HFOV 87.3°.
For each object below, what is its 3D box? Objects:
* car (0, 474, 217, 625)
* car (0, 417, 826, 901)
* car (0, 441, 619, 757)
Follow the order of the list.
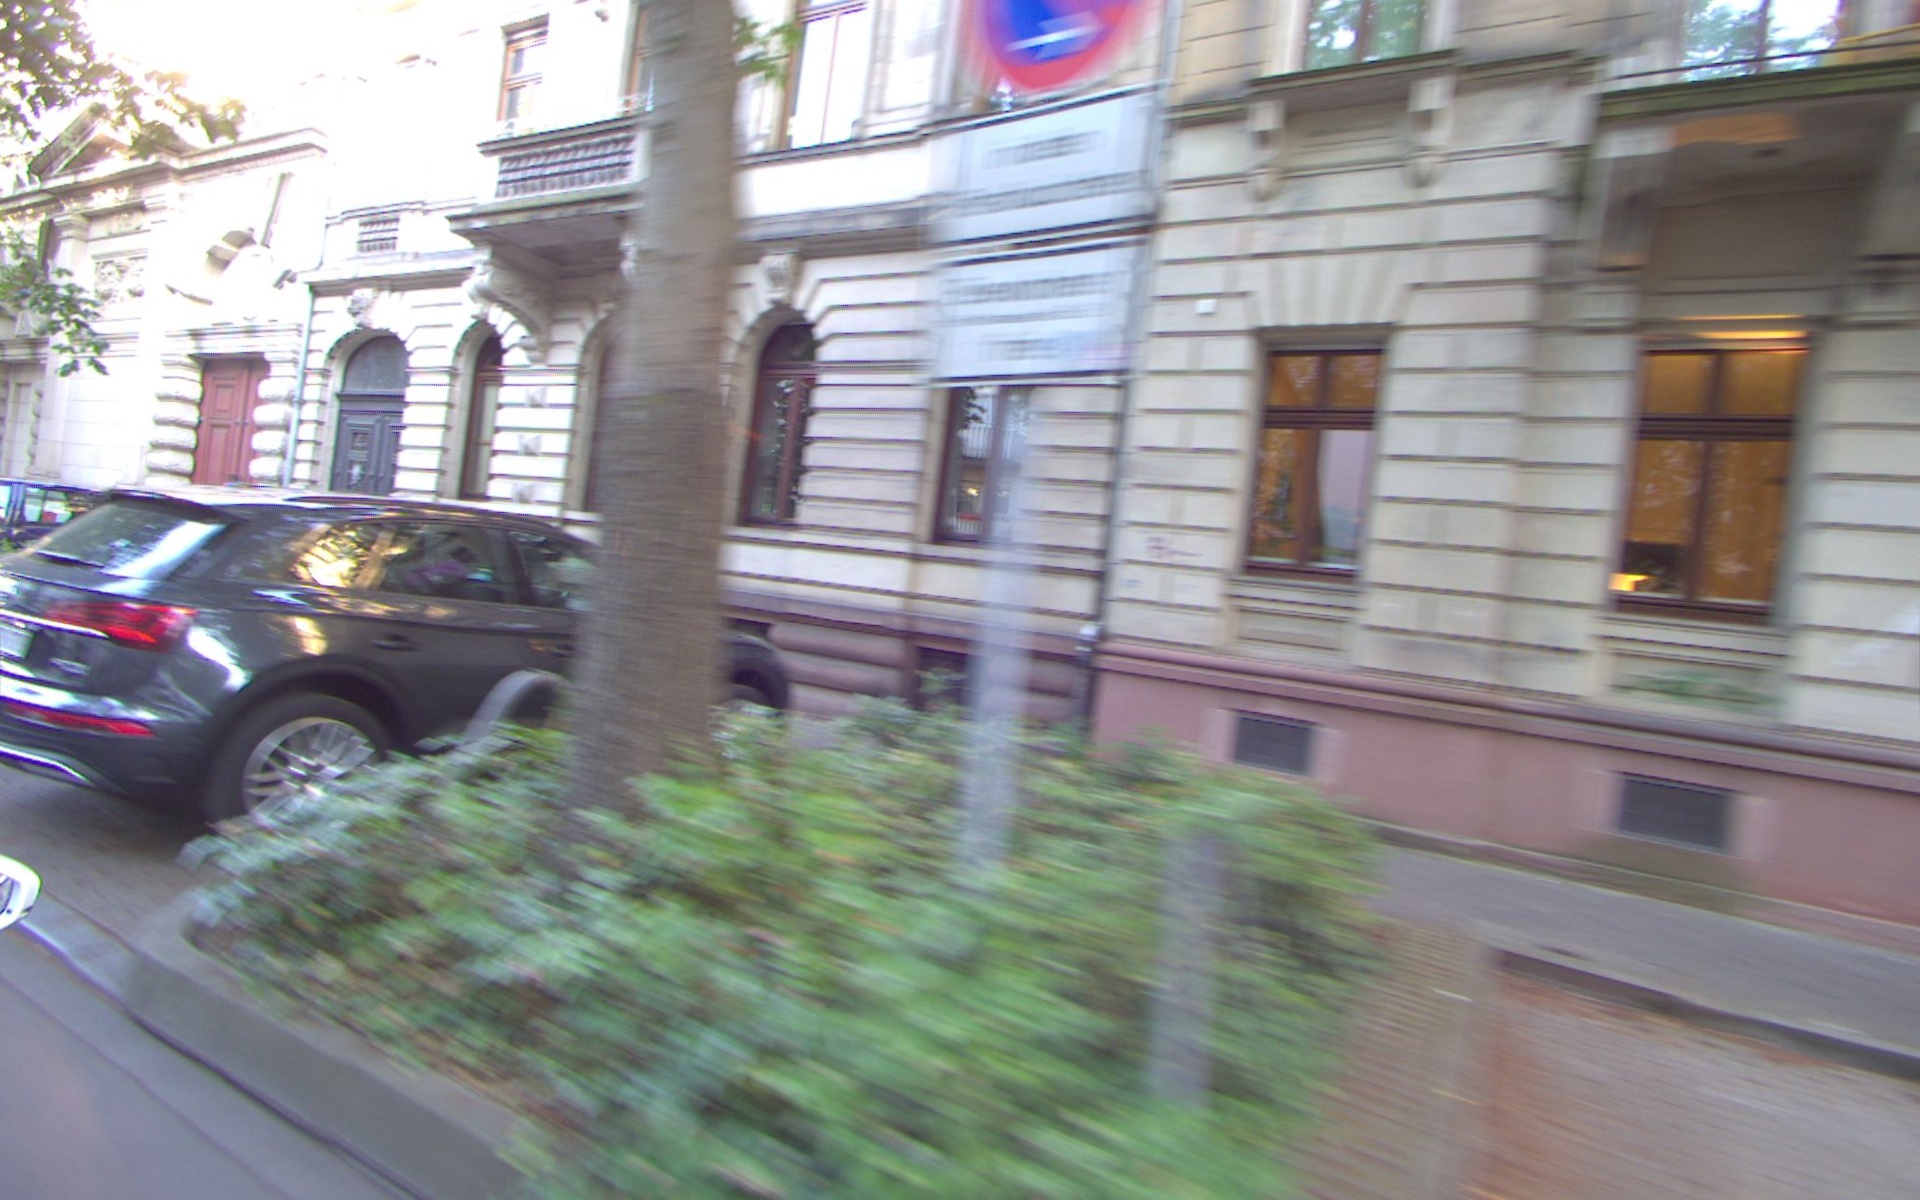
[{"bbox_3d":[-10.642,-0.628,10.494,1.823,1.500,4.227,7,2,29],"label":"car"},{"bbox_3d":[-2.991,0.256,6.012,1.935,1.739,4.446,6,0,29],"label":"car"},{"bbox_3d":[-4.855,0.052,7.644,1.735,1.707,4.015,8,0,29],"label":"car"}]
